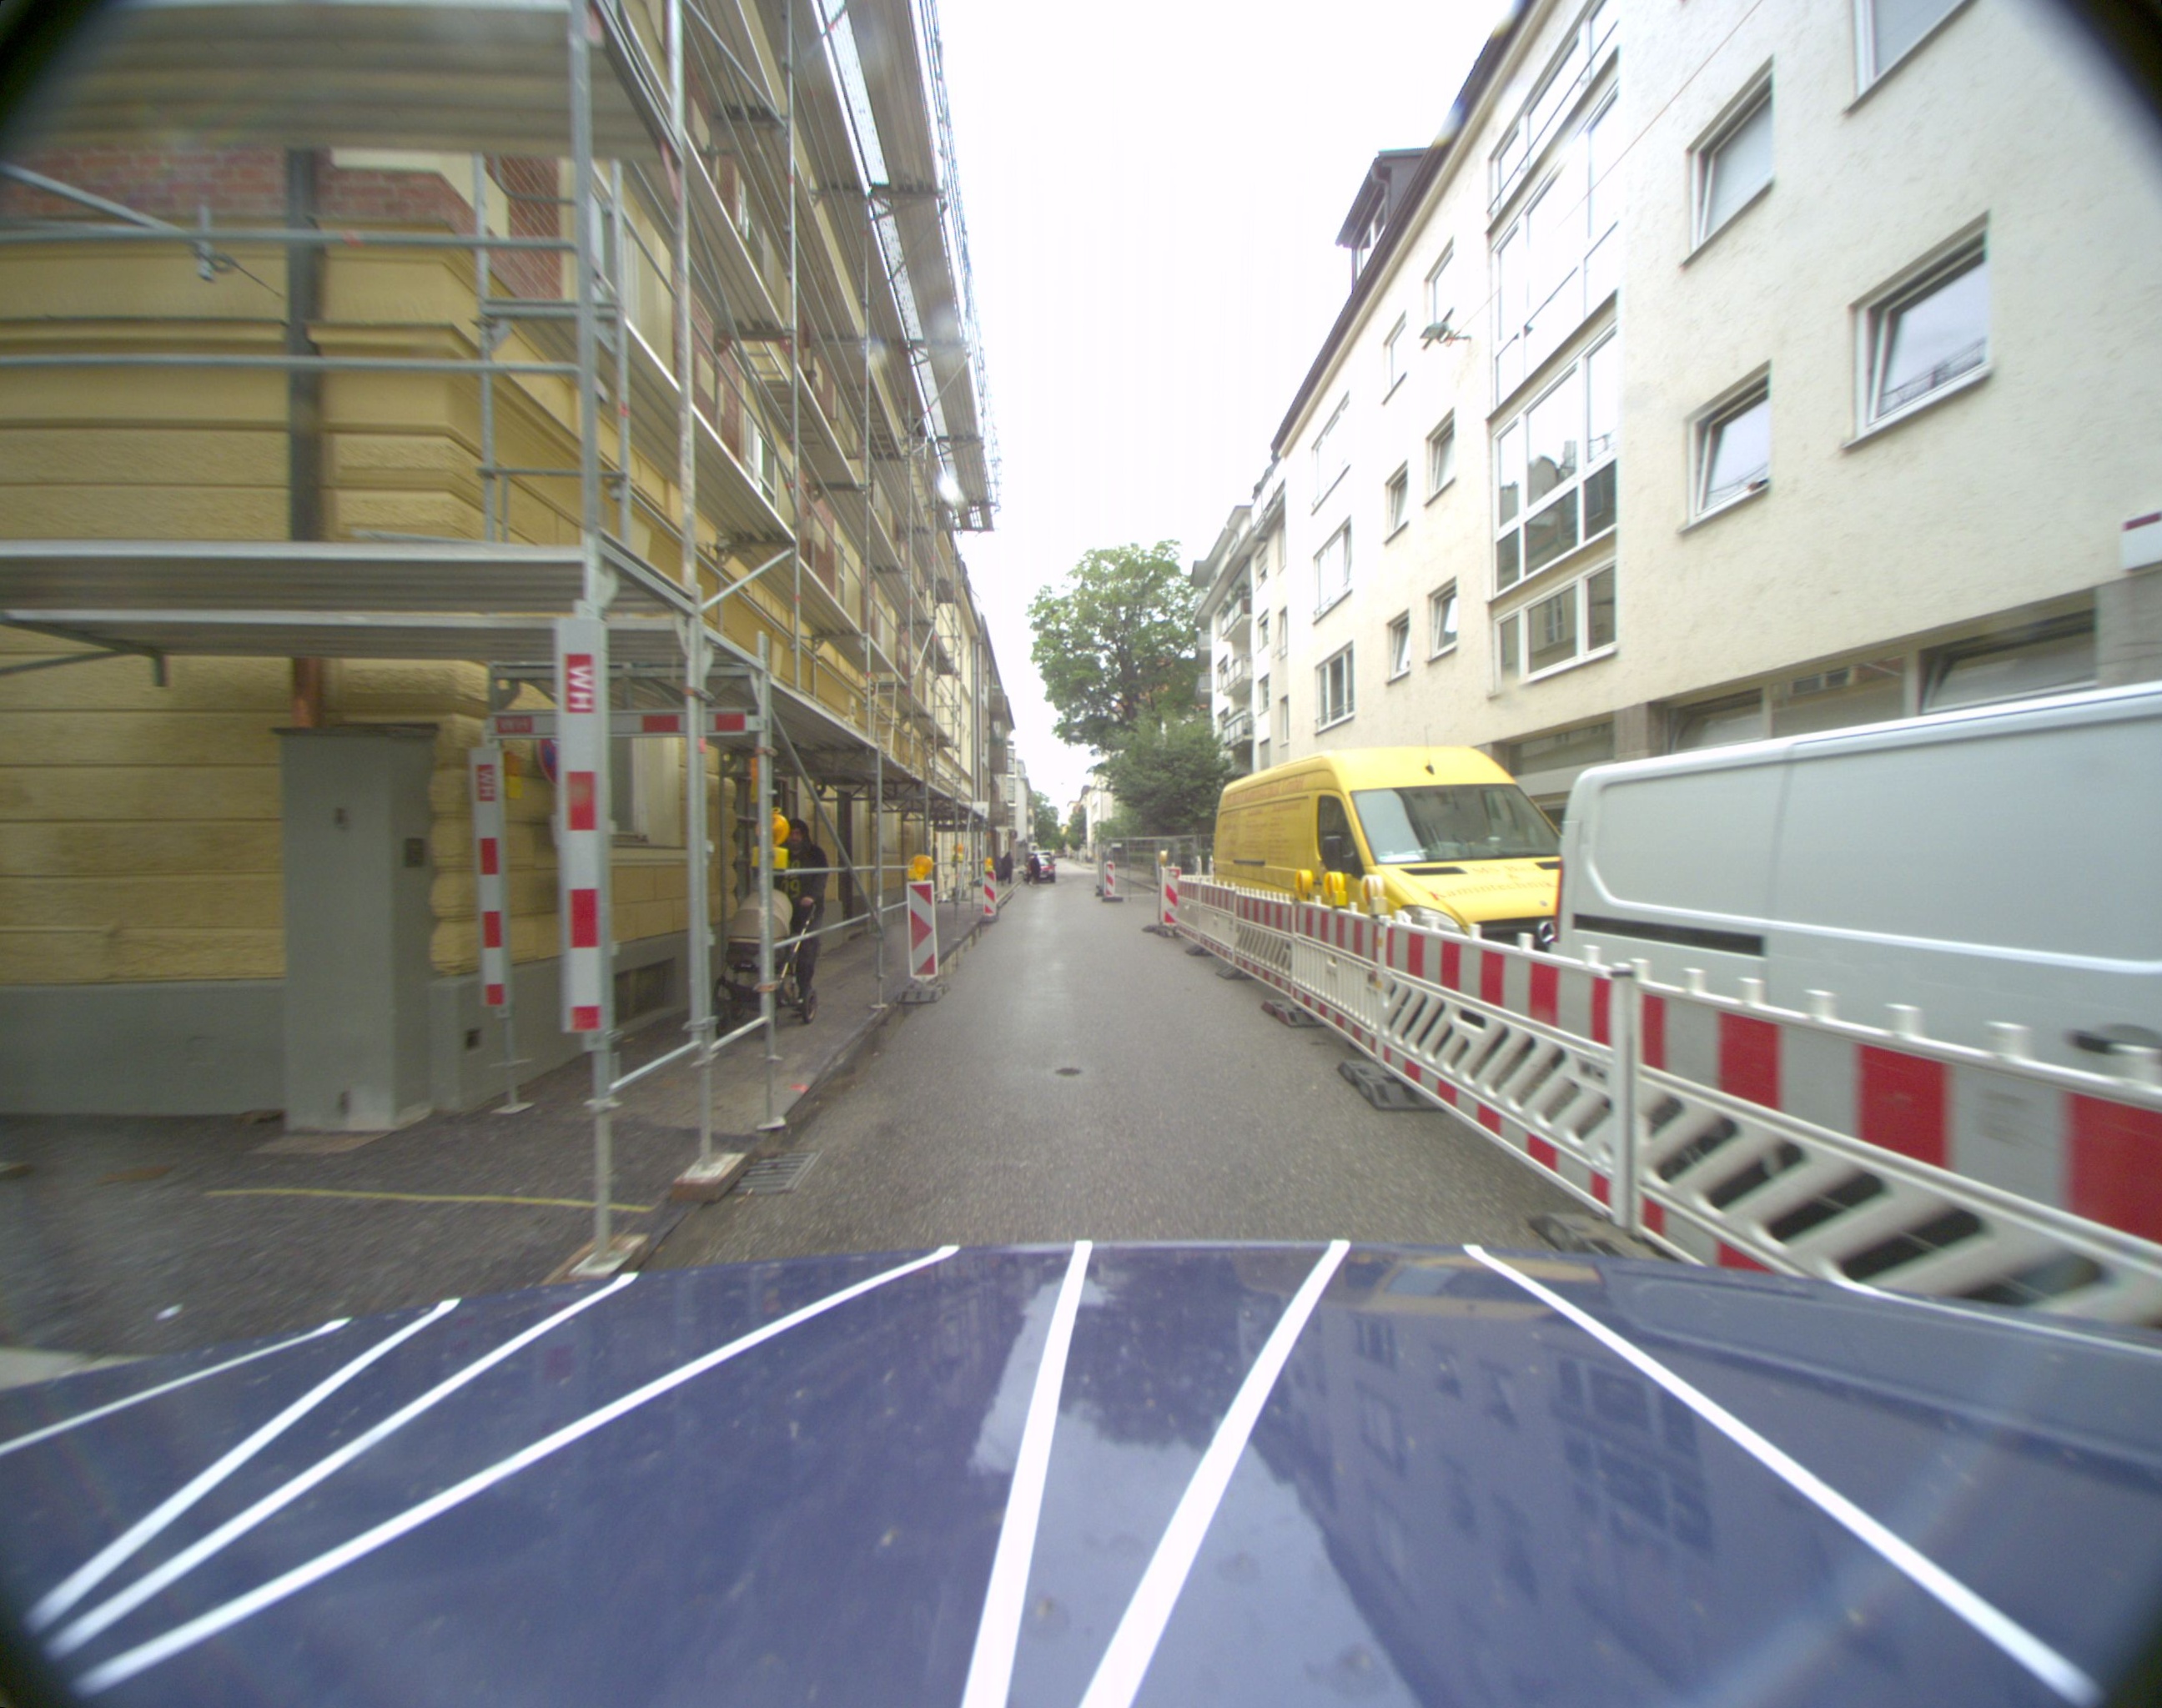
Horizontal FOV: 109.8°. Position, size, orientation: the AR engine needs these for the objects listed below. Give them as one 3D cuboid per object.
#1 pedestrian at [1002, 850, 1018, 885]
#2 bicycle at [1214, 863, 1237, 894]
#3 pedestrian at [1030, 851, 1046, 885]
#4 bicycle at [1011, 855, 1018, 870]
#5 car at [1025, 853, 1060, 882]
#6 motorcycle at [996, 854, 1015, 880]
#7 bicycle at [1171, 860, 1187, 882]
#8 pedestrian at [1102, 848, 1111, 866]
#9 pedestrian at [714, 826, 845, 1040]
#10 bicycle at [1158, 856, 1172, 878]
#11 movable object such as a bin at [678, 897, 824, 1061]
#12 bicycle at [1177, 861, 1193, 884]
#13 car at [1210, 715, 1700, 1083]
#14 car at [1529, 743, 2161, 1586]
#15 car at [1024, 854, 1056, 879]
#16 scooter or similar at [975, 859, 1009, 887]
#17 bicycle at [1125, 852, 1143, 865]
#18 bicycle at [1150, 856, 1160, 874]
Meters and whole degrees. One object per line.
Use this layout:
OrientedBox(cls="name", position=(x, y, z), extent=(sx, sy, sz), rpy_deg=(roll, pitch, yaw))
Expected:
OrientedBox(cls="pedestrian", position=(-3.443, 0.639, 36.736), extent=(0.660, 1.676, 0.586), rpy_deg=(0, 1, 3))
OrientedBox(cls="bicycle", position=(5.232, 0.866, 27.574), extent=(0.378, 1.057, 1.597), rpy_deg=(-7, 1, -1))
OrientedBox(cls="pedestrian", position=(-2.186, 0.707, 38.330), extent=(0.660, 1.676, 0.546), rpy_deg=(-3, 0, 3))
OrientedBox(cls="bicycle", position=(-5.523, 0.699, 63.296), extent=(0.411, 1.207, 1.818), rpy_deg=(2, 2, -2))
OrientedBox(cls="car", position=(-2.156, 0.743, 43.350), extent=(1.776, 1.515, 4.066), rpy_deg=(-2, 0, 0))
OrientedBox(cls="motorcycle", position=(-4.322, 0.733, 43.554), extent=(0.807, 1.415, 1.932), rpy_deg=(5, 0, -1))
OrientedBox(cls="bicycle", position=(4.816, 0.836, 37.370), extent=(0.445, 0.973, 1.853), rpy_deg=(-4, 1, -1))
OrientedBox(cls="pedestrian", position=(2.518, 0.285, 76.251), extent=(0.722, 1.718, 0.841), rpy_deg=(-5, 1, -2))
OrientedBox(cls="pedestrian", position=(-2.659, 0.659, 6.808), extent=(0.731, 1.742, 0.988), rpy_deg=(3, 1, -3))
OrientedBox(cls="bicycle", position=(4.569, 0.702, 41.388), extent=(0.490, 1.145, 1.698), rpy_deg=(-4, 1, -1))
OrientedBox(cls="movable object such as a bin", position=(-2.642, 0.973, 6.198), extent=(0.731, 1.134, 0.988), rpy_deg=(4, 0, -3))
OrientedBox(cls="bicycle", position=(4.858, 0.856, 35.505), extent=(0.445, 0.973, 1.815), rpy_deg=(-4, 1, -1))
OrientedBox(cls="car", position=(3.212, 0.306, 8.702), extent=(1.999, 2.564, 6.734), rpy_deg=(0, 0, -3))
OrientedBox(cls="car", position=(3.406, 0.713, 1.531), extent=(1.922, 1.886, 4.788), rpy_deg=(1, 0, -4))
OrientedBox(cls="car", position=(-2.568, 0.760, 48.581), extent=(1.773, 1.453, 4.379), rpy_deg=(-2, 0, -1))
OrientedBox(cls="scooter or similar", position=(-3.971, 0.862, 34.046), extent=(0.493, 1.176, 1.611), rpy_deg=(3, 0, 38))
OrientedBox(cls="bicycle", position=(5.357, 0.432, 76.985), extent=(1.812, 1.253, 0.432), rpy_deg=(-1, 1, -3))
OrientedBox(cls="bicycle", position=(4.556, 0.691, 46.847), extent=(0.347, 1.065, 1.779), rpy_deg=(-4, 0, -2))
